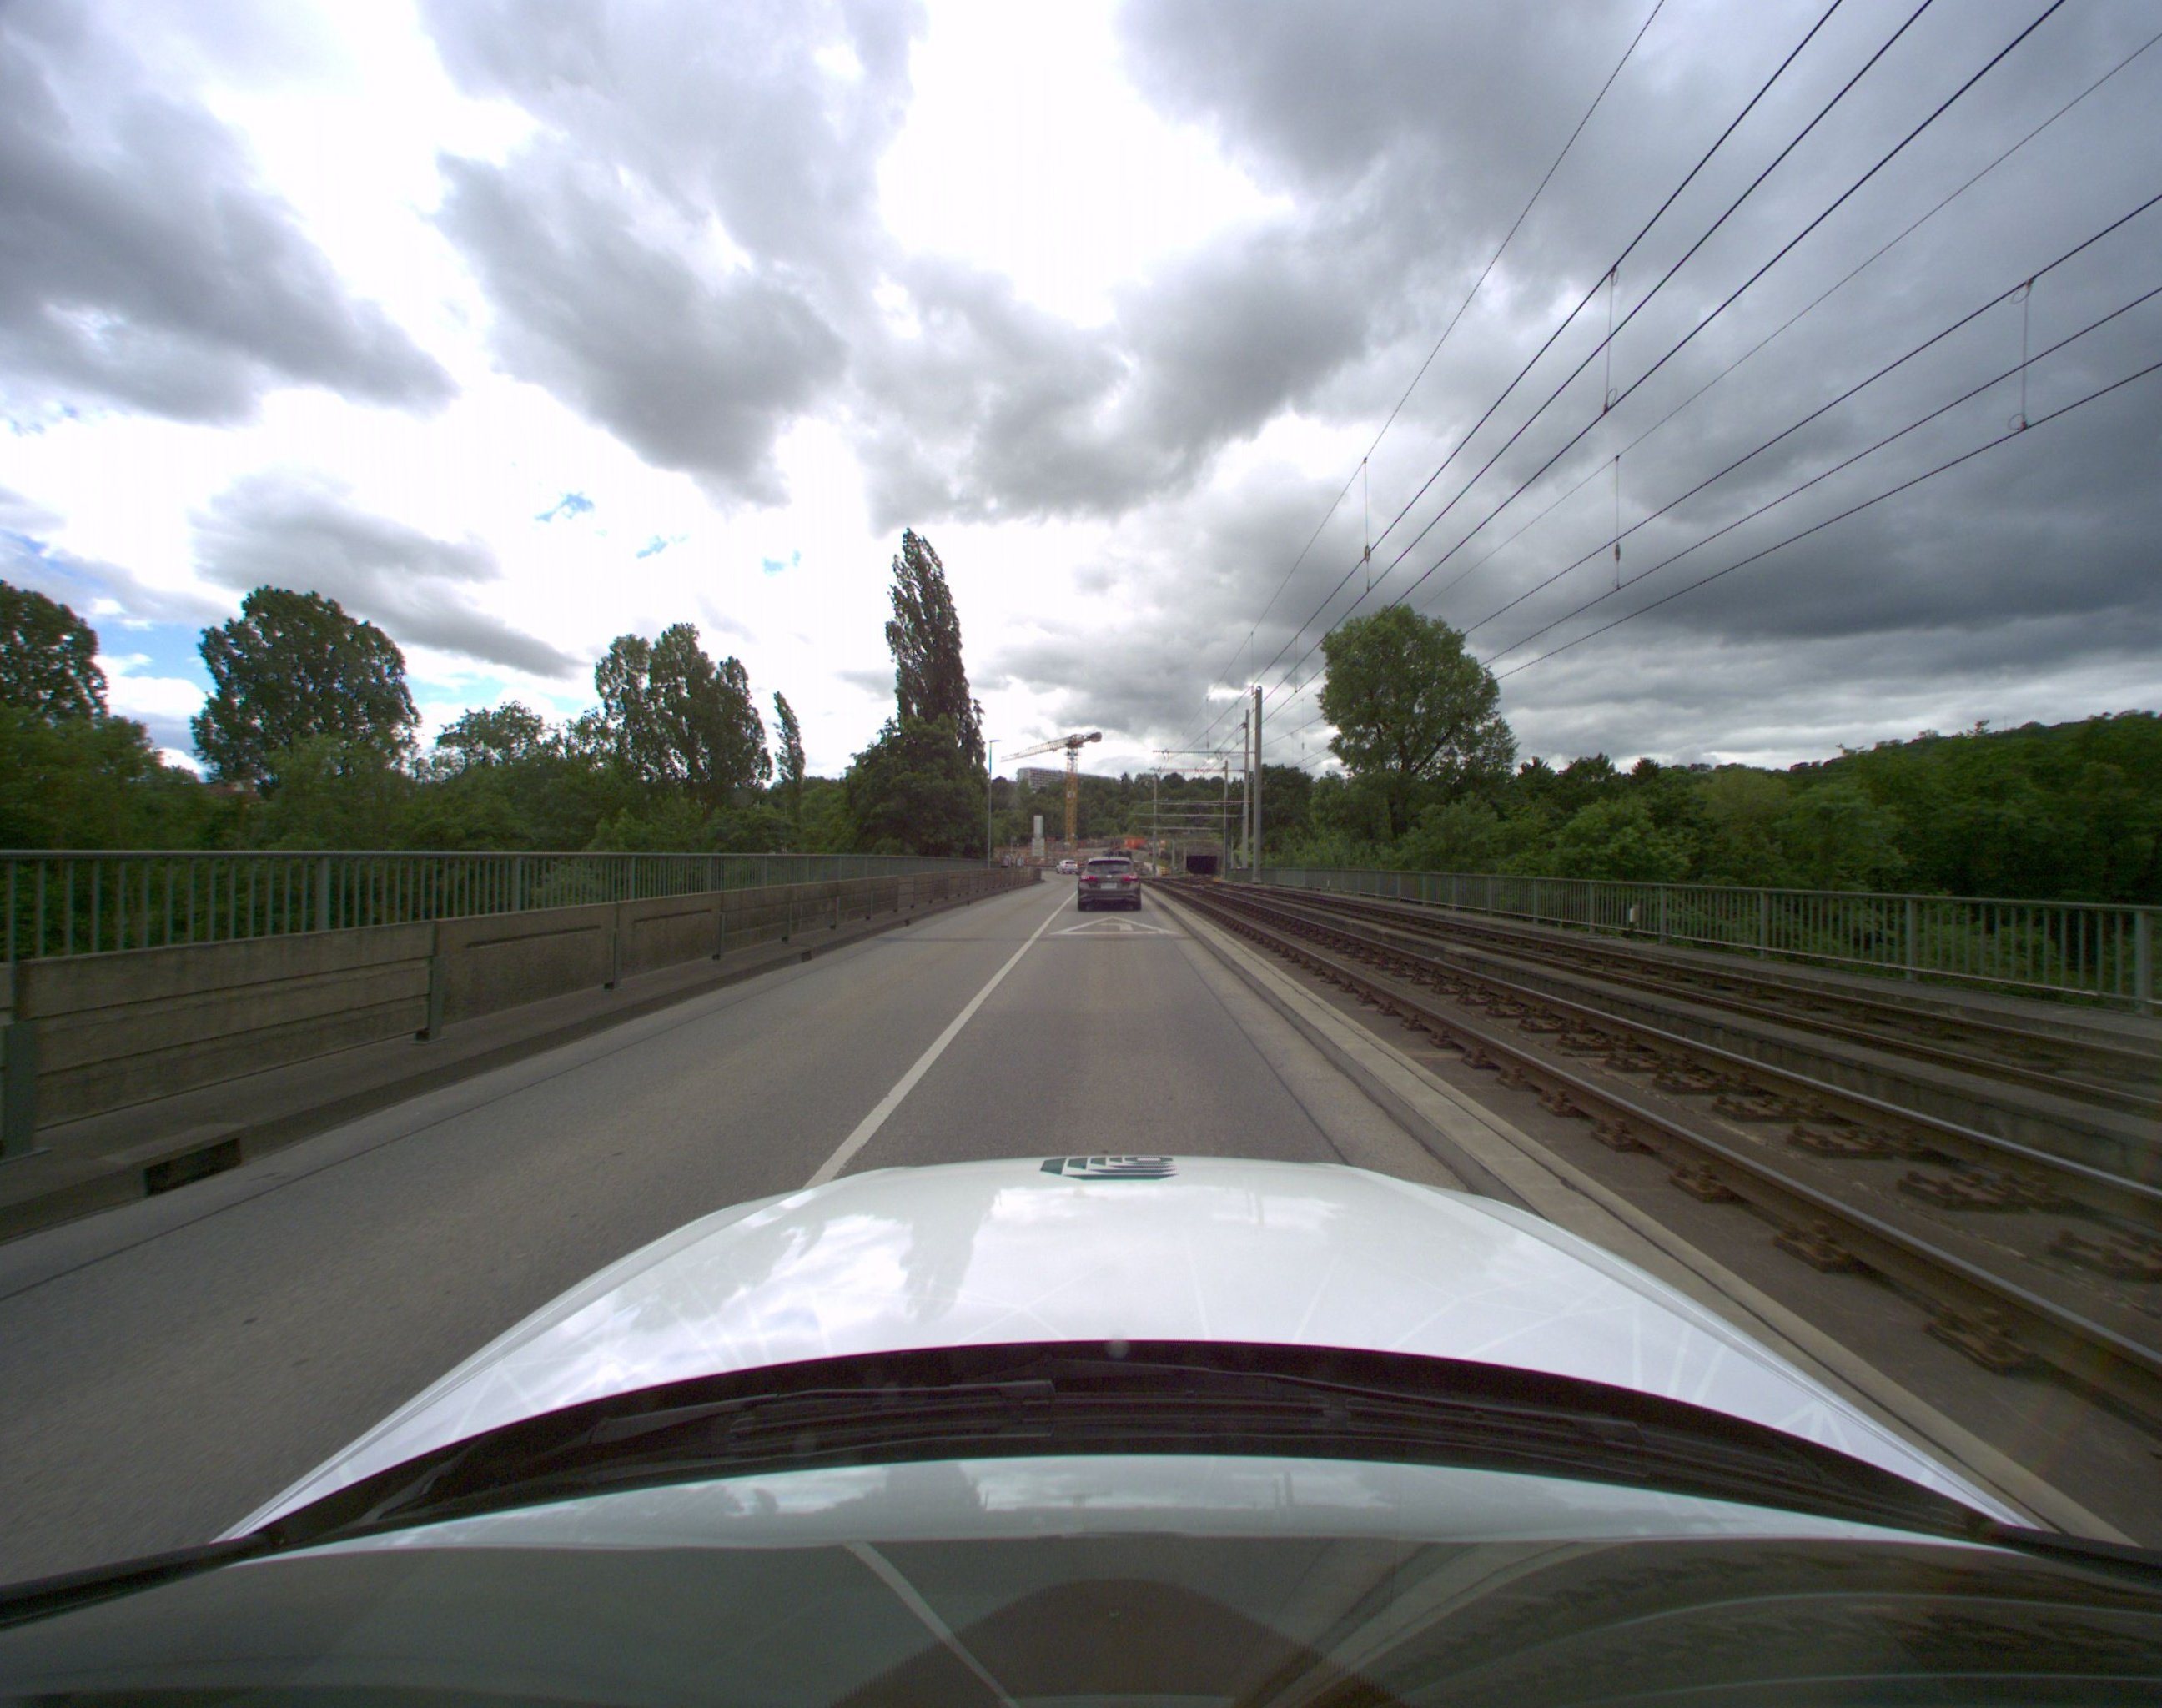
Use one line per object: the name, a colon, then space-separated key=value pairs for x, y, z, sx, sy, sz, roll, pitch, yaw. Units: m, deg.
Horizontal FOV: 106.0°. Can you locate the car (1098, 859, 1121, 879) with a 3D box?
car: x=2.433 y=1.287 z=70.994 sx=1.676 sy=1.606 sz=4.306 roll=0 pitch=0 yaw=-2

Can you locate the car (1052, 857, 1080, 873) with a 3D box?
car: x=-1.668 y=1.191 z=88.491 sx=1.686 sy=1.606 sz=4.280 roll=0 pitch=0 yaw=-20

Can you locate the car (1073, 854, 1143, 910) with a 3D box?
car: x=0.715 y=0.766 z=23.916 sx=1.825 sy=1.510 sz=3.997 roll=0 pitch=0 yaw=-2

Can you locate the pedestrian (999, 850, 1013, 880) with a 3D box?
pedestrian: x=-4.660 y=0.679 z=50.551 sx=0.718 sy=1.839 sz=0.723 roll=1 pitch=0 yaw=1

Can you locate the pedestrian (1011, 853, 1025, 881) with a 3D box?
pedestrian: x=-3.813 y=0.785 z=49.428 sx=0.718 sy=1.701 sz=0.723 roll=1 pitch=0 yaw=1
